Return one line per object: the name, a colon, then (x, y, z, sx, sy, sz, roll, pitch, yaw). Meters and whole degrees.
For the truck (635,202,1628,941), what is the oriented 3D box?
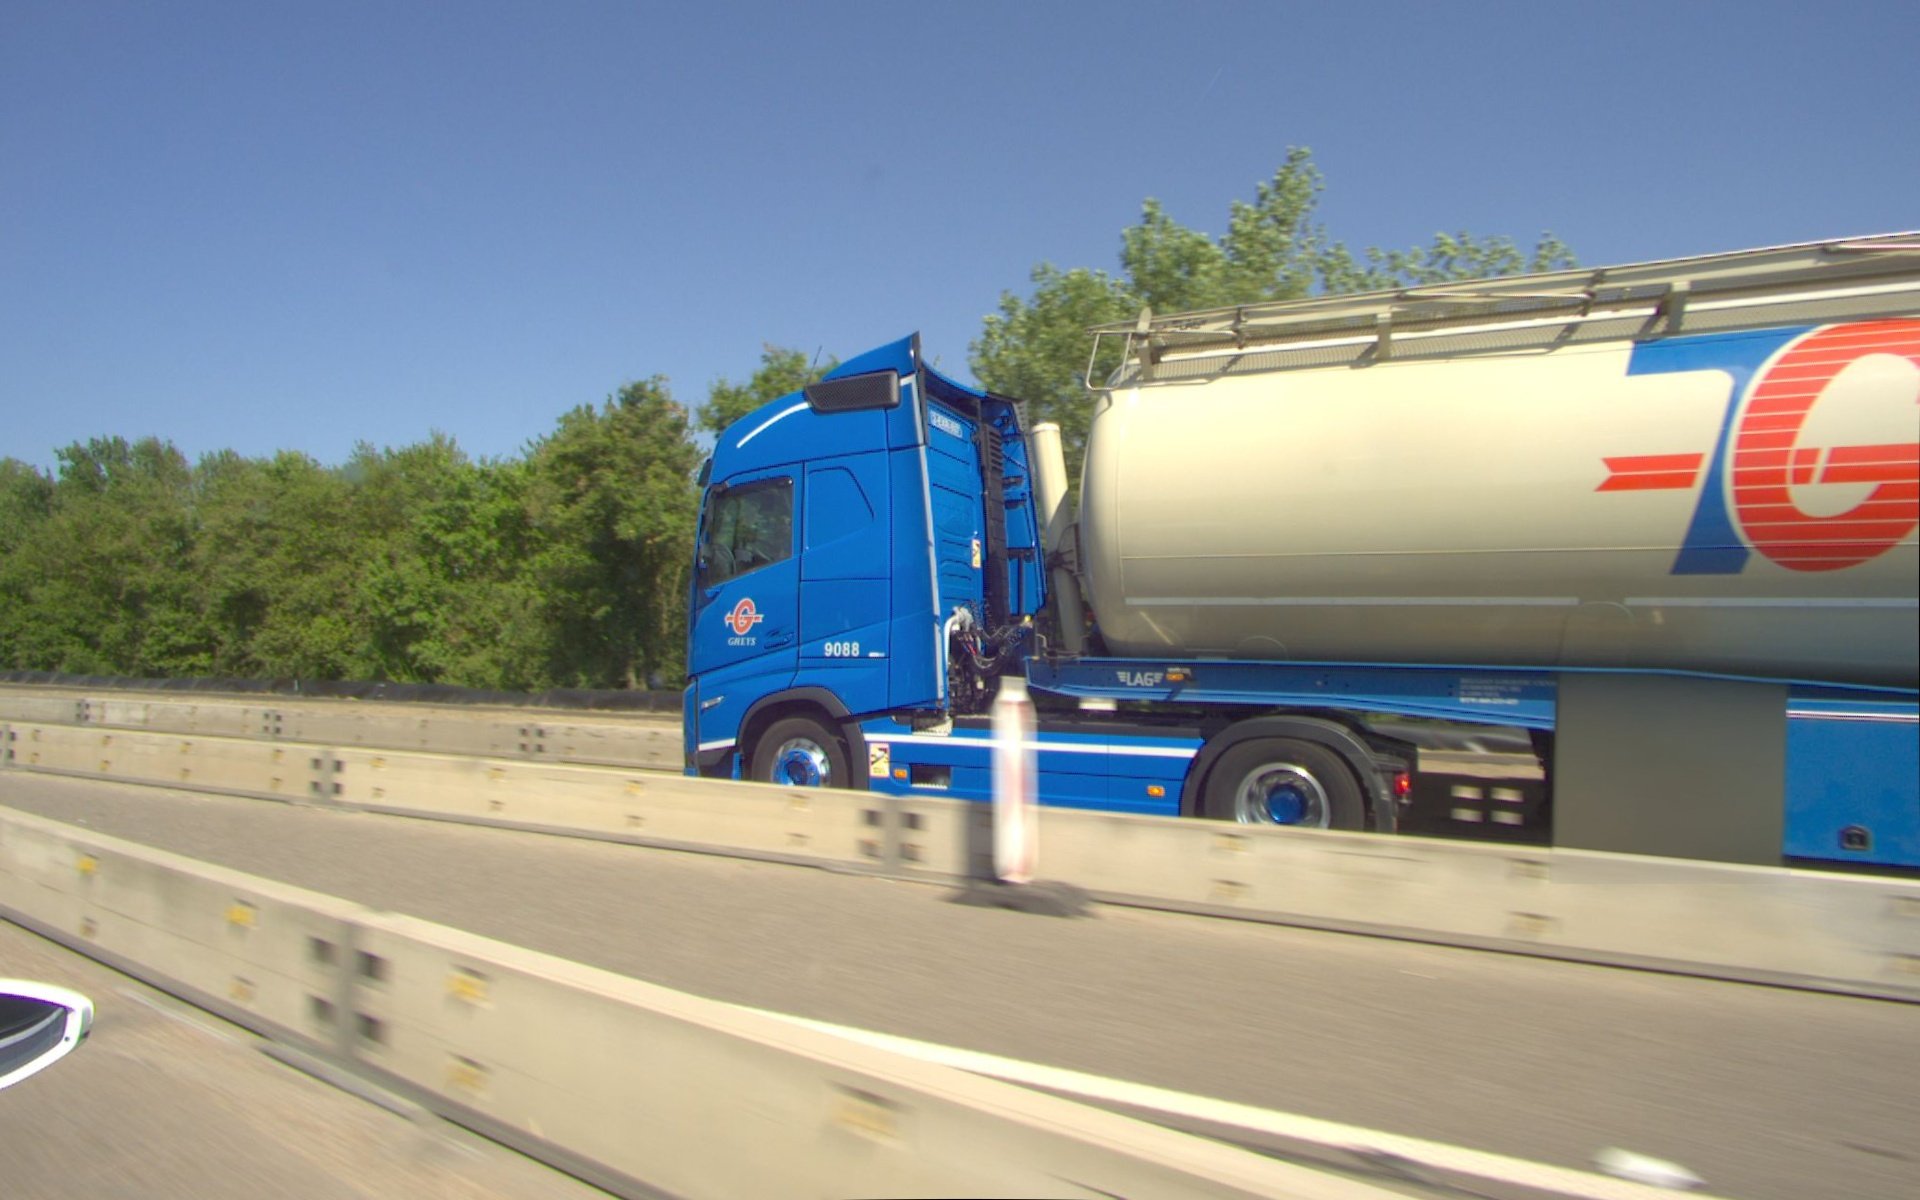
truck: (1.036, -0.101, 8.362, 7.180, 4.154, 2.696, 0, -2, 25)

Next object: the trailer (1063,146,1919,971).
trailer: (6.911, -0.184, 5.627, 12.407, 4.190, 2.696, 0, -2, 25)
